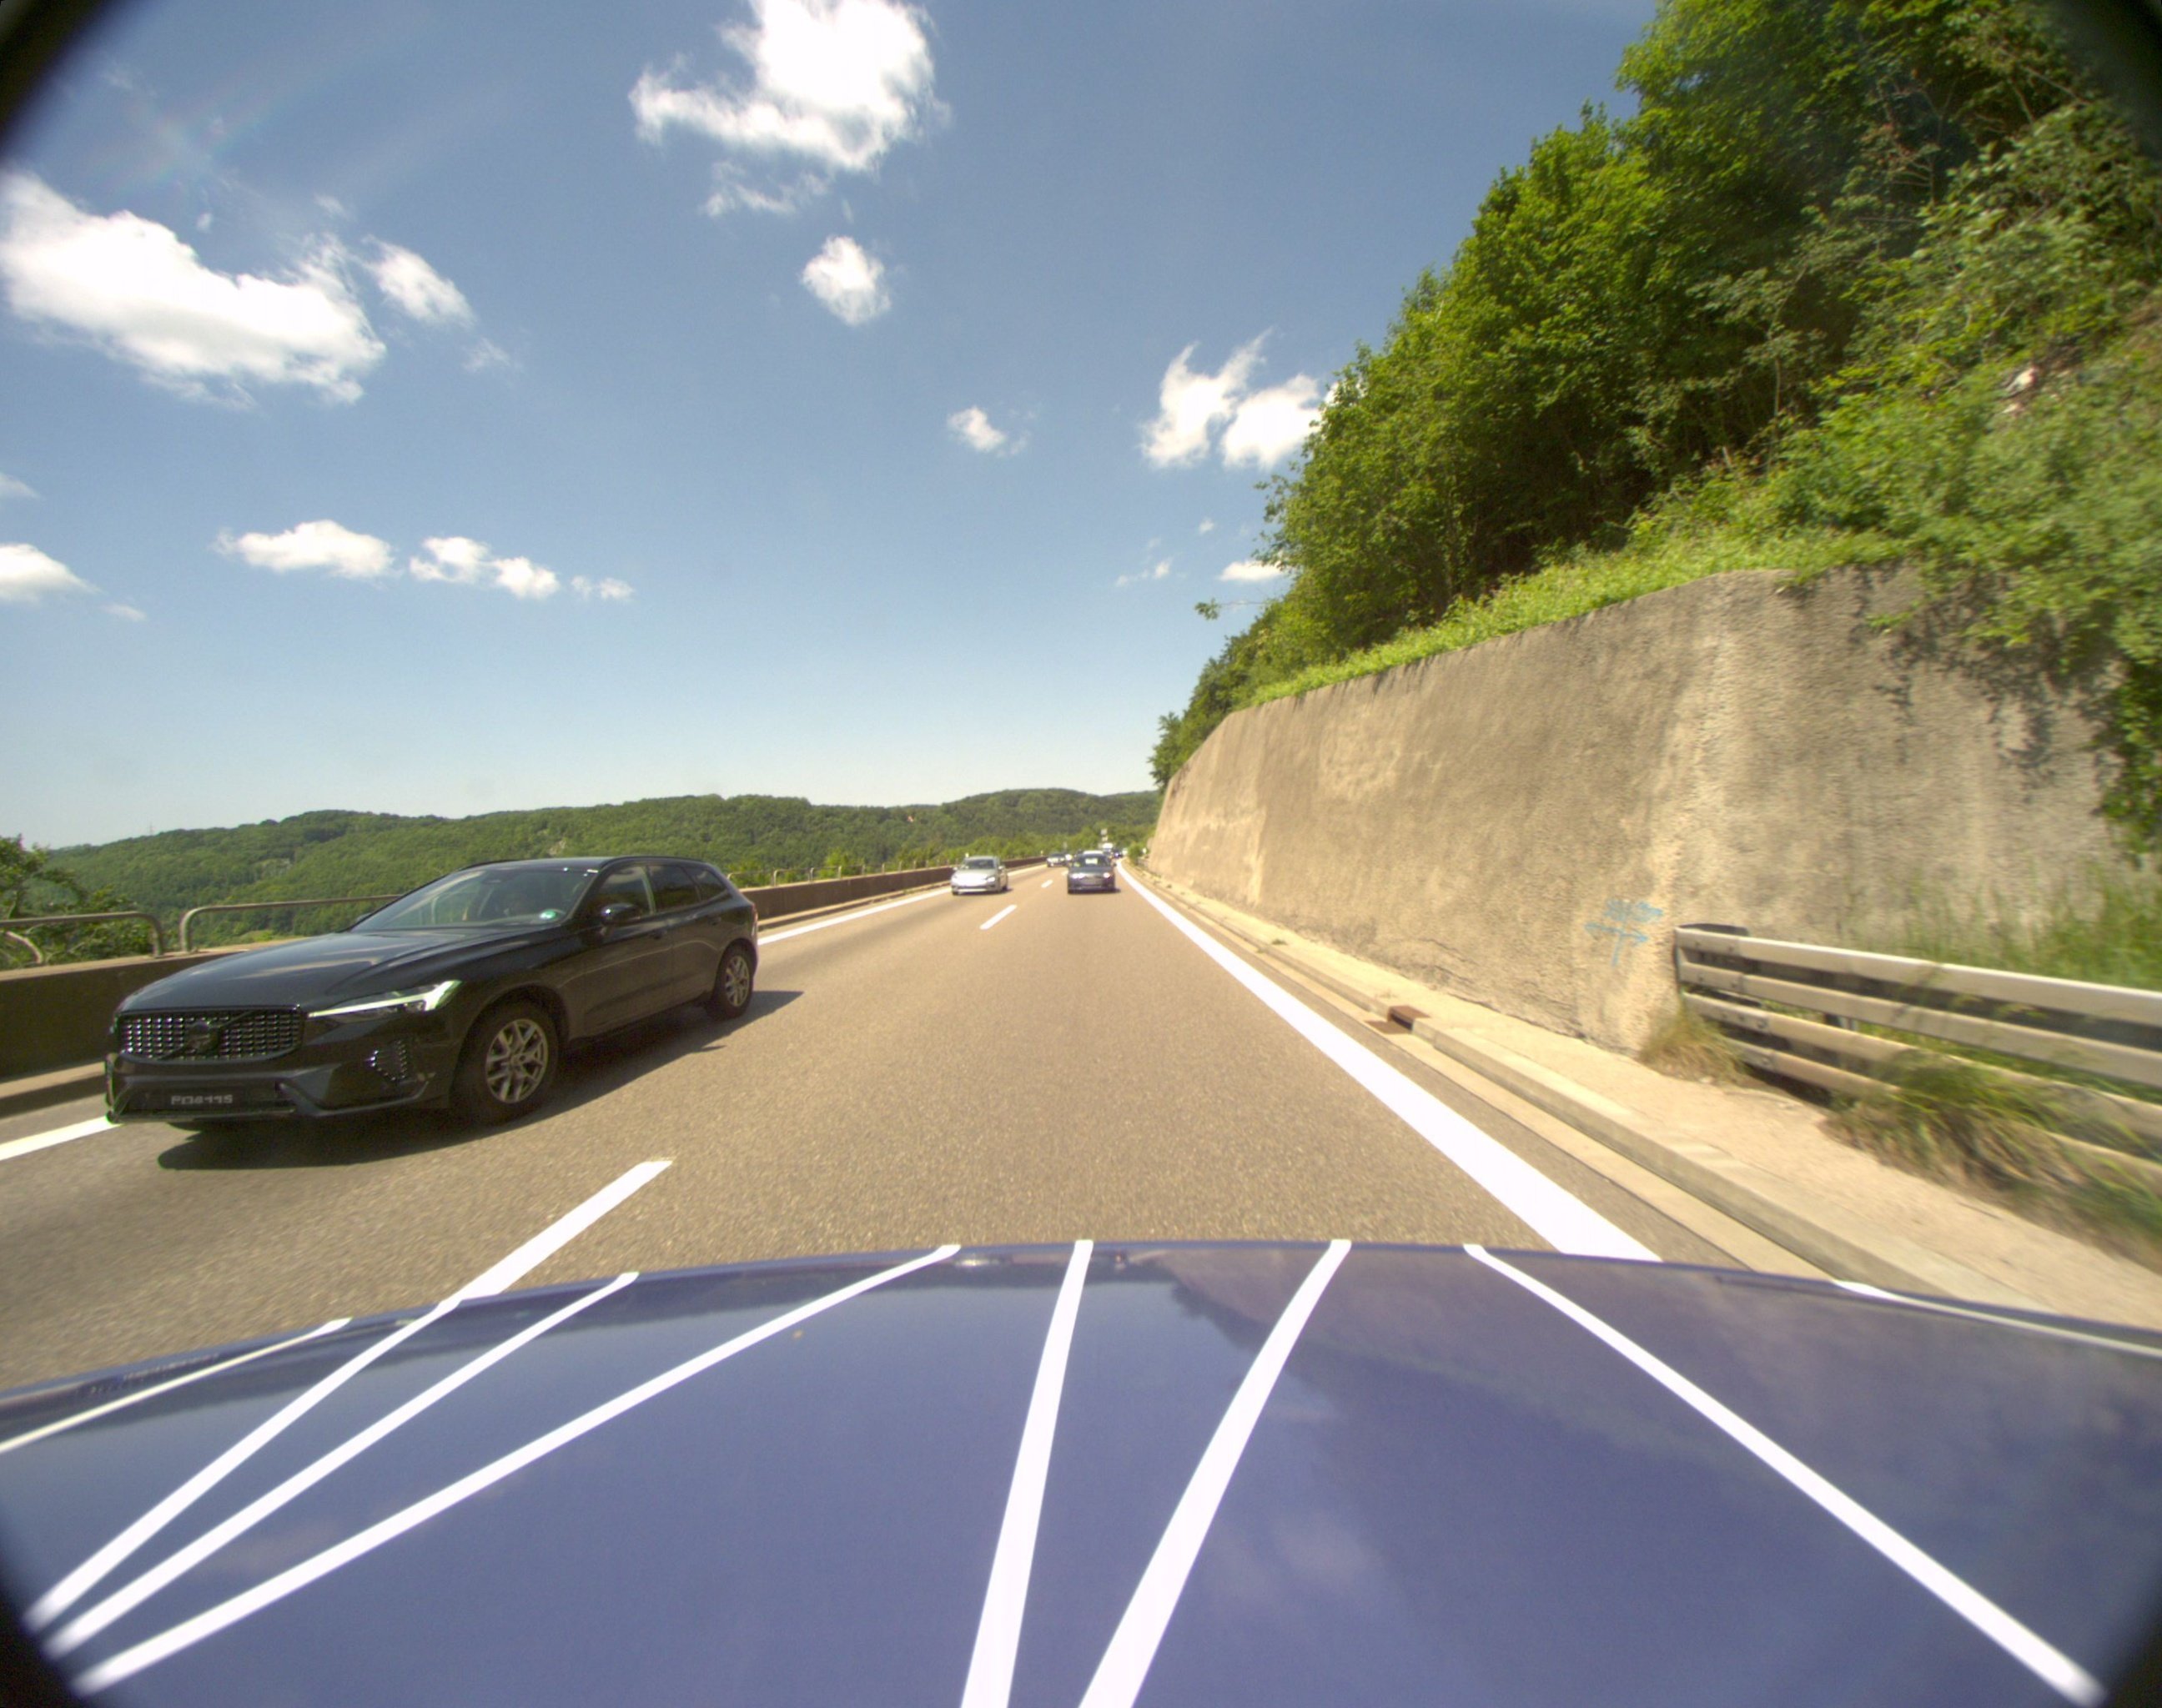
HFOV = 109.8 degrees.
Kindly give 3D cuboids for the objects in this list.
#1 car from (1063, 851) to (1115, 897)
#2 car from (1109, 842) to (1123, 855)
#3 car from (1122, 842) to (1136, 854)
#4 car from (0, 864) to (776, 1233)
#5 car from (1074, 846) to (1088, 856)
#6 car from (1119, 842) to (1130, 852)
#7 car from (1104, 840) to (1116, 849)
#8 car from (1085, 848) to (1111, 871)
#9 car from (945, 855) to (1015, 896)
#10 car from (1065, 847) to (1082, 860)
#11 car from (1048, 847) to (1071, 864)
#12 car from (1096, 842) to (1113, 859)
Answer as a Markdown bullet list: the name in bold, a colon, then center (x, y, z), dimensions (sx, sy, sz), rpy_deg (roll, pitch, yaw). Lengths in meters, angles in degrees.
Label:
- **car**: center (0.355, 0.667, 27.728), dimensions (1.668, 1.415, 4.044), rpy_deg (-1, 2, 4)
- **car**: center (5.682, -0.916, 123.357), dimensions (1.997, 2.002, 4.001), rpy_deg (-2, 1, 7)
- **car**: center (8.495, -1.156, 134.825), dimensions (1.997, 2.002, 4.002), rpy_deg (-2, 1, 9)
- **car**: center (-4.323, 0.964, 5.938), dimensions (1.839, 1.624, 4.662), rpy_deg (-2, 0, 2)
- **car**: center (0.020, -0.472, 114.975), dimensions (1.775, 1.565, 4.001), rpy_deg (-2, 1, 4)
- **car**: center (9.140, -1.418, 158.148), dimensions (1.997, 2.002, 4.001), rpy_deg (-2, 1, 7)
- **car**: center (6.361, -2.015, 164.658), dimensions (1.997, 2.002, 4.003), rpy_deg (0, 0, 11)
- **car**: center (1.125, 0.325, 51.883), dimensions (1.703, 1.432, 4.043), rpy_deg (0, 1, 1)
- **car**: center (-3.899, 0.791, 29.984), dimensions (1.972, 1.370, 4.293), rpy_deg (-2, 1, 2)
- **car**: center (-0.982, -0.086, 97.439), dimensions (1.775, 1.565, 4.001), rpy_deg (-2, 1, 4)
- **car**: center (-2.153, 0.136, 76.506), dimensions (1.875, 1.565, 4.001), rpy_deg (-2, 1, 4)
- **car**: center (2.839, -0.399, 91.471), dimensions (1.998, 2.002, 4.000), rpy_deg (-1, 1, 3)
